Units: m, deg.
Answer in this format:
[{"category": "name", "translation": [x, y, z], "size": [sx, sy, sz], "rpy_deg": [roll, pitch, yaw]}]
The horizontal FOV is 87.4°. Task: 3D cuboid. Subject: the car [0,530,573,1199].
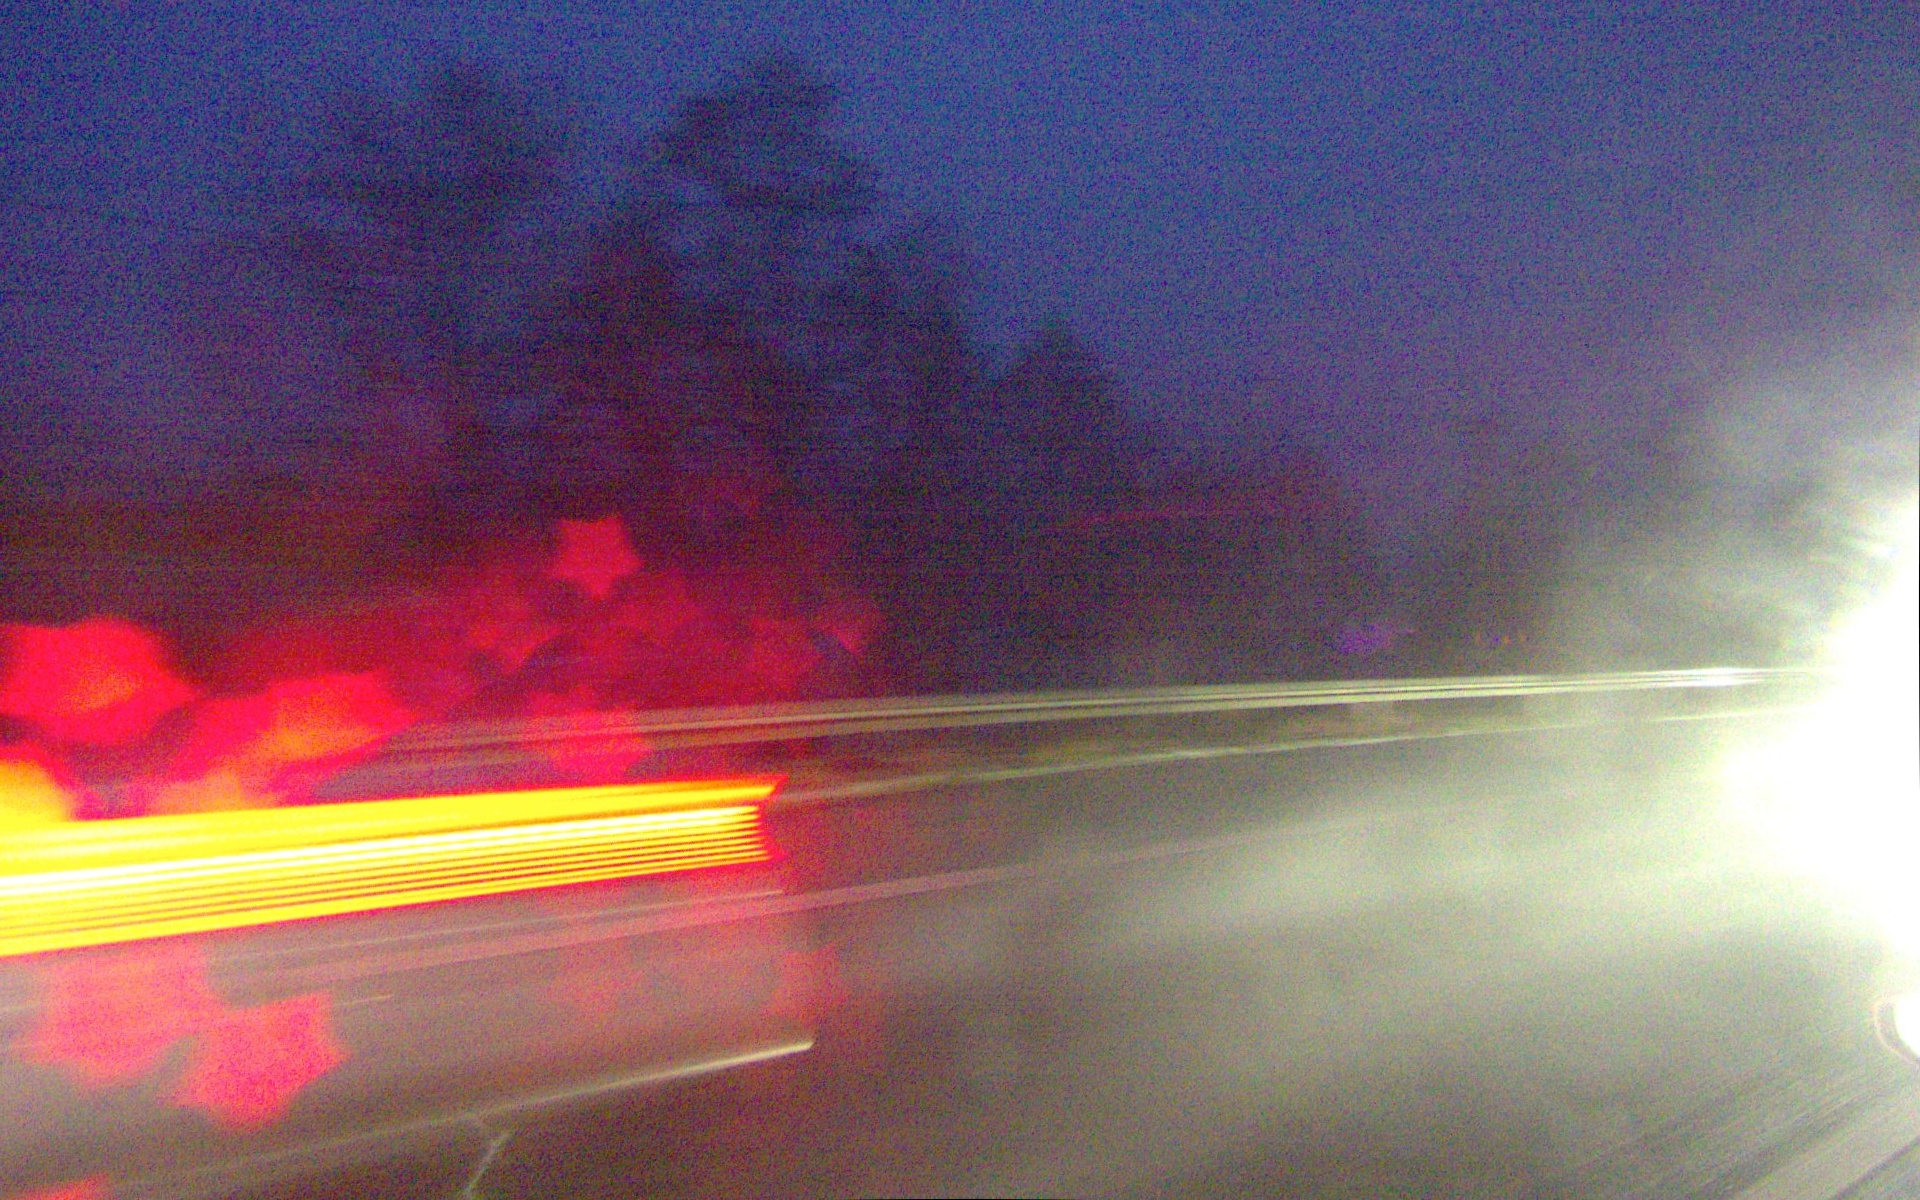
[{"category": "car", "translation": [-2.695, 0.647, 1.711], "size": [3.558, 1.530, 1.776], "rpy_deg": [1, -1, -31]}]
